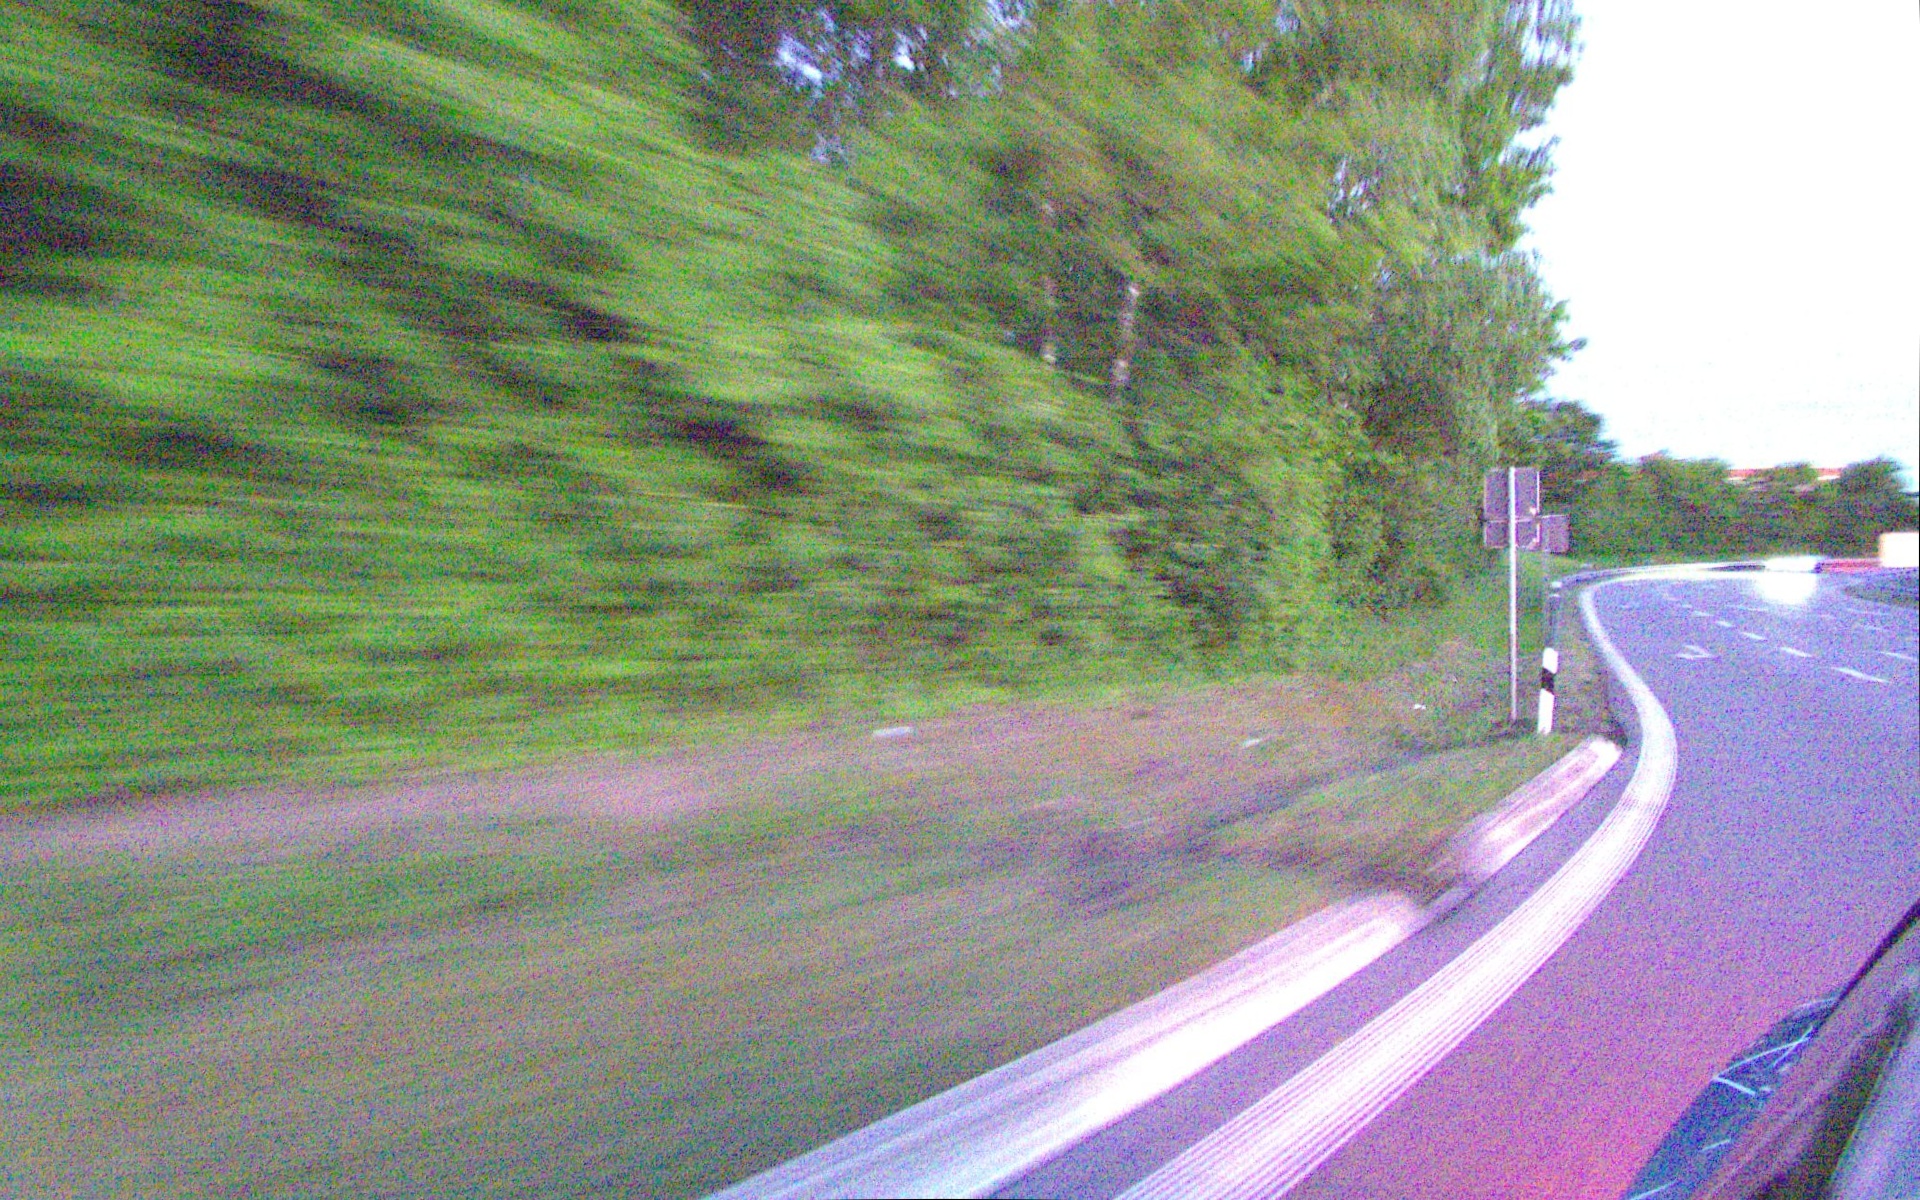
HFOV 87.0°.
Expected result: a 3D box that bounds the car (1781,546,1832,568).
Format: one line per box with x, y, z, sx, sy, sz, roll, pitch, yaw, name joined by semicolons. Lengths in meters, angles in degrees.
67.436;-3.469;80.586;3.920;1.673;1.790;-2;3;-29;car
